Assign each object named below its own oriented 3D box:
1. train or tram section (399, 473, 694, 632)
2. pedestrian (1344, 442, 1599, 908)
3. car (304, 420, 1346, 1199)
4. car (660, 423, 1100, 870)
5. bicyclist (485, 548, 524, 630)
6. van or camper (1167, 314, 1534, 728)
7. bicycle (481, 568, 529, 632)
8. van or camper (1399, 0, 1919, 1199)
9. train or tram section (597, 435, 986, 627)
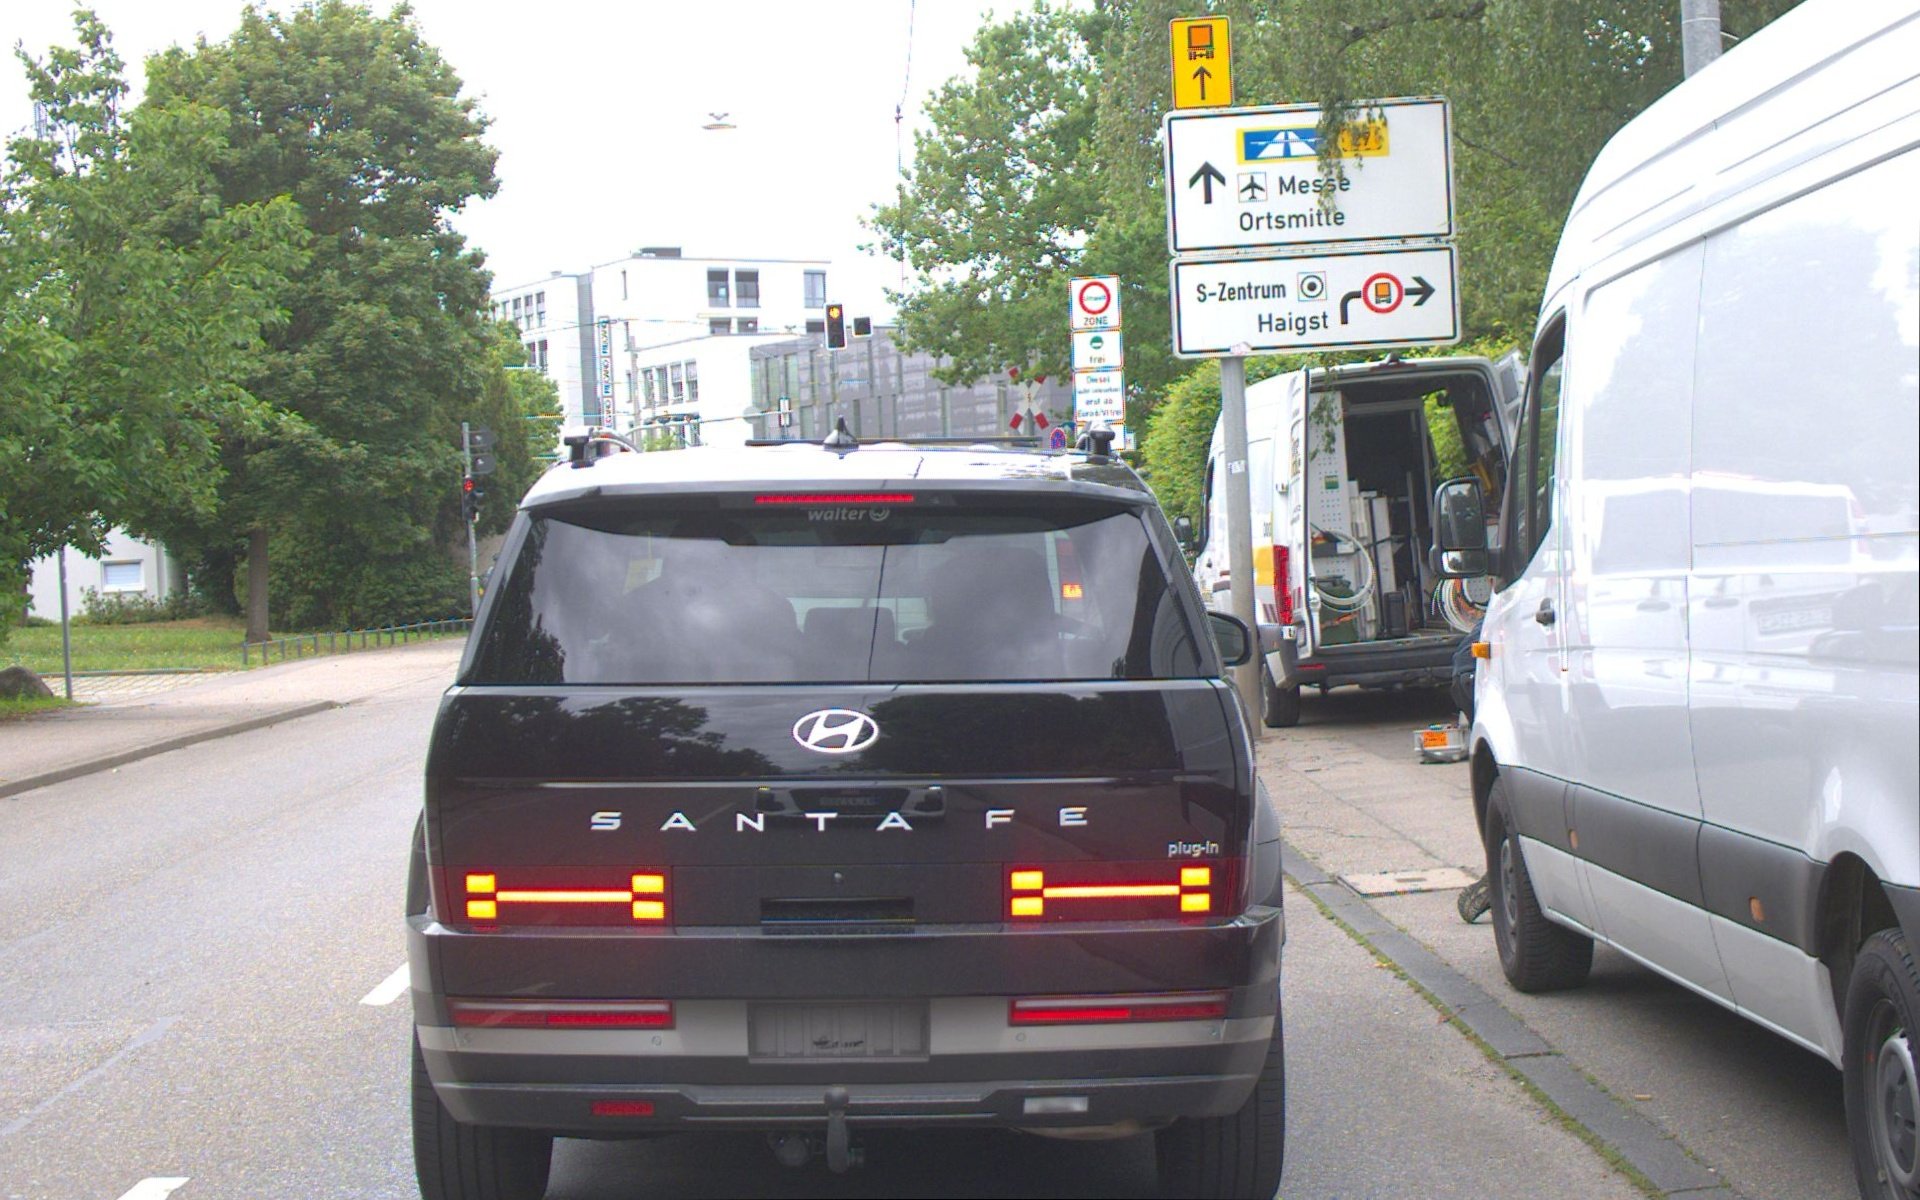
[{"bbox_3d":[-13.535,-1.334,109.869,3.192,4.507,18.686,0,-1,-27],"label":"train or tram section"},{"bbox_3d":[2.000,0.286,13.479,0.617,1.737,0.605,-5,1,-24],"label":"pedestrian"},{"bbox_3d":[-0.301,0.489,8.563,1.963,1.705,4.000,-1,1,-1],"label":"car"},{"bbox_3d":[-0.410,0.176,17.580,1.963,1.994,4.000,-1,1,-1],"label":"car"},{"bbox_3d":[-9.289,-0.218,70.122,0.675,1.653,0.859,-1,-1,-14],"label":"bicyclist"},{"bbox_3d":[2.914,-0.604,26.885,1.963,2.787,5.287,-4,1,-1],"label":"van or camper"},{"bbox_3d":[-9.285,0.015,70.090,0.675,1.275,2.501,-1,-1,-14],"label":"bicycle"},{"bbox_3d":[2.585,-0.072,8.060,1.963,2.619,6.359,-4,1,-1],"label":"van or camper"},{"bbox_3d":[-4.996,-1.633,93.077,3.192,4.507,18.686,0,-1,-27],"label":"train or tram section"}]
